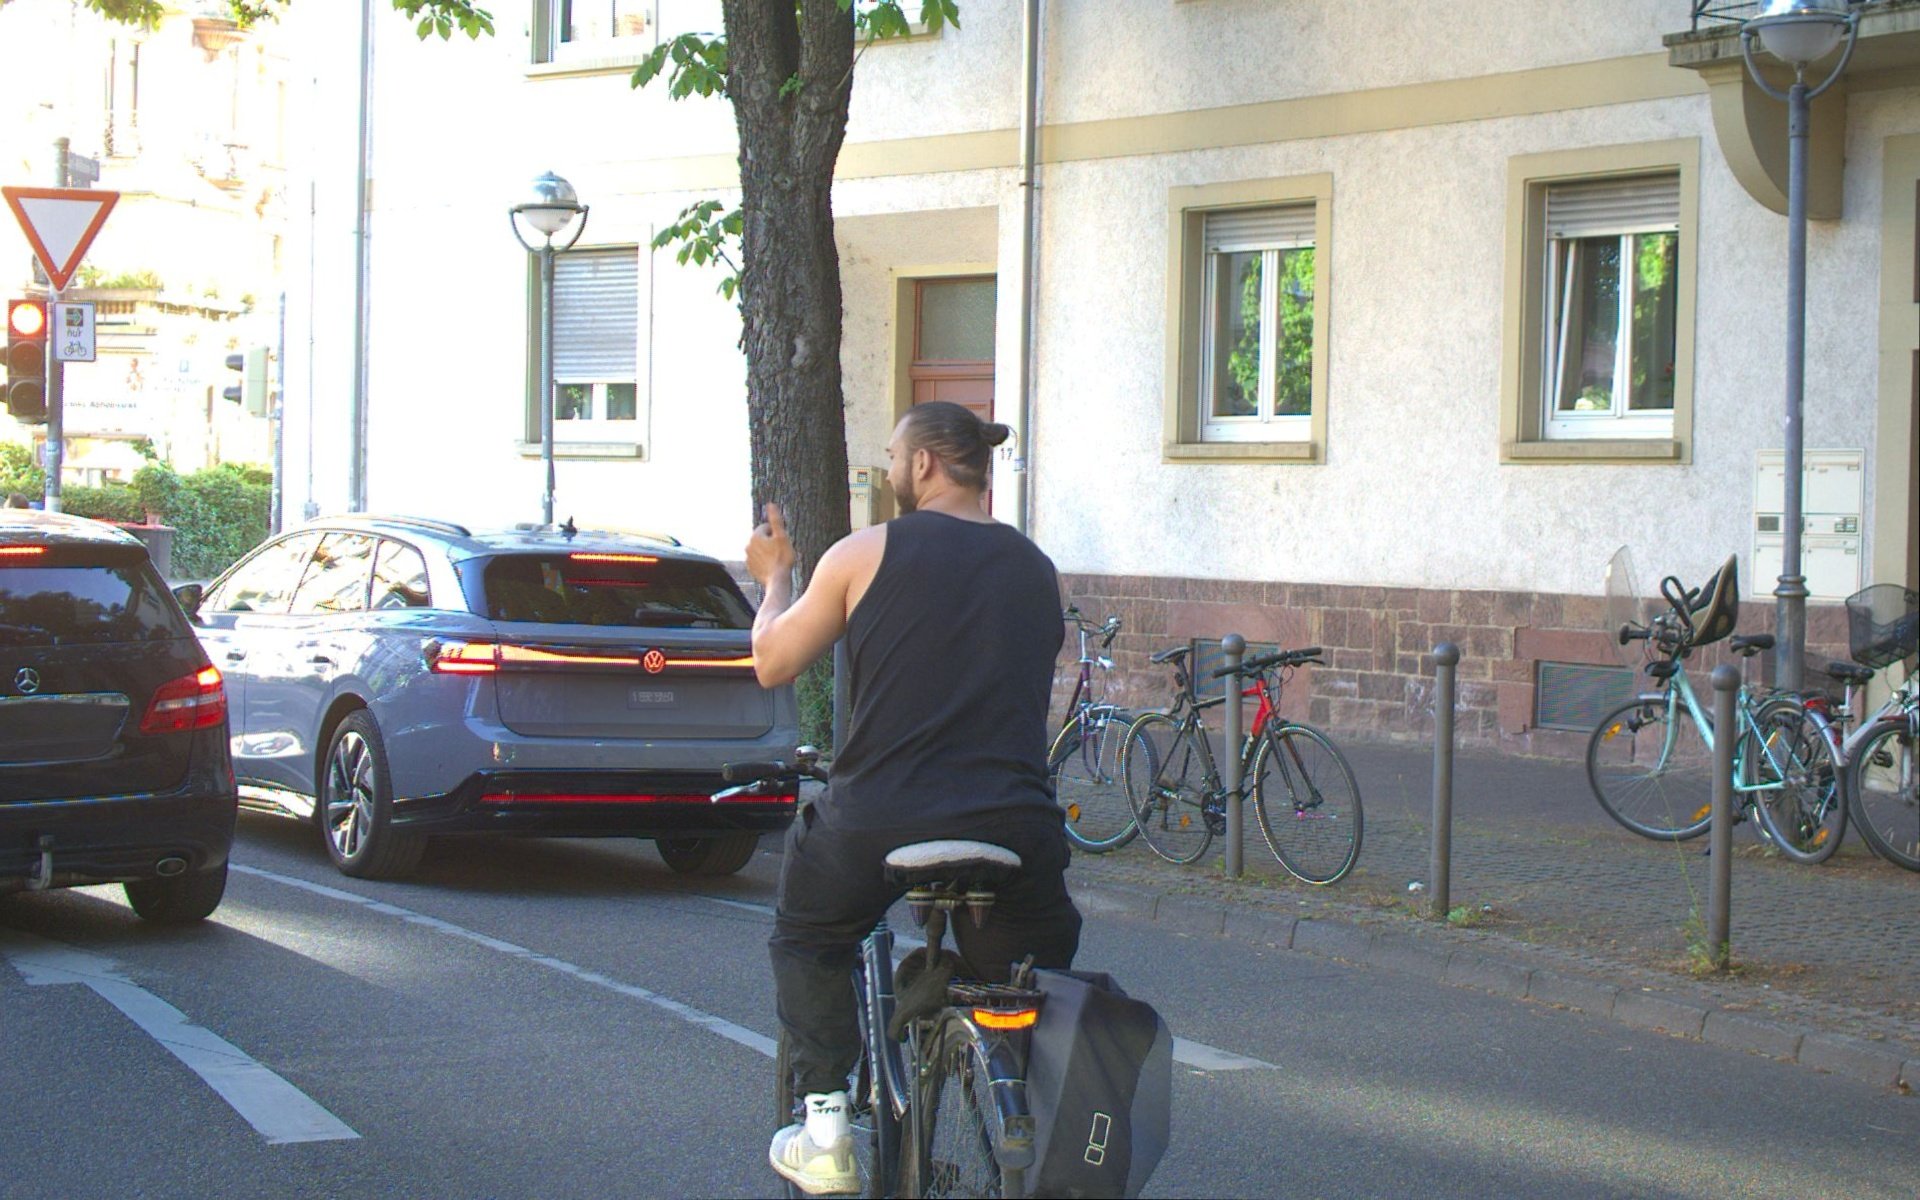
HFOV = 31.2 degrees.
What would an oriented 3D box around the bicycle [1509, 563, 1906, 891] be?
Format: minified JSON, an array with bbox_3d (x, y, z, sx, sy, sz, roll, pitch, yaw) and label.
[{"bbox_3d":[3.187,0.501,14.880,0.717,1.273,1.967,-1,2,-21],"label":"bicycle"}]

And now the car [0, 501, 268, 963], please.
[{"bbox_3d":[-4.253,0.397,13.175,1.790,1.536,3.860,-2,2,-34],"label":"car"}]

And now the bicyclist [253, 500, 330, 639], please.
[{"bbox_3d":[-7.774,-0.355,39.967,0.672,1.592,0.530,1,2,-39],"label":"bicyclist"}]

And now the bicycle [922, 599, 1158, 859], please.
[{"bbox_3d":[0.352,0.569,15.997,0.480,1.060,1.636,-2,3,-22],"label":"bicycle"}]

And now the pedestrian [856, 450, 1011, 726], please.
[{"bbox_3d":[-0.176,-0.096,22.101,0.643,1.721,0.888,-2,3,-27],"label":"pedestrian"}]

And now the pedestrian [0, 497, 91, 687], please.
[{"bbox_3d":[-8.276,-0.082,30.560,0.901,1.629,0.726,3,2,-21],"label":"pedestrian"}]

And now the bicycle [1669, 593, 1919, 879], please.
[{"bbox_3d":[3.899,0.556,14.897,0.667,1.103,1.967,1,1,-19],"label":"bicycle"}]

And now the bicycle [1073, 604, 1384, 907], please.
[{"bbox_3d":[1.095,0.613,14.413,0.526,1.103,1.741,-2,3,-24],"label":"bicycle"}]

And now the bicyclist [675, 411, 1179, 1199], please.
[{"bbox_3d":[-0.091,0.496,6.275,0.686,1.650,0.990,0,2,-15],"label":"bicyclist"}]

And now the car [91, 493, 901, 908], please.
[{"bbox_3d":[-2.294,0.376,15.785,1.970,1.580,4.475,3,0,-31],"label":"car"}]

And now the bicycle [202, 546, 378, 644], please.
[{"bbox_3d":[-7.783,-0.052,39.975,1.961,1.103,0.536,1,2,-39],"label":"bicycle"}]
